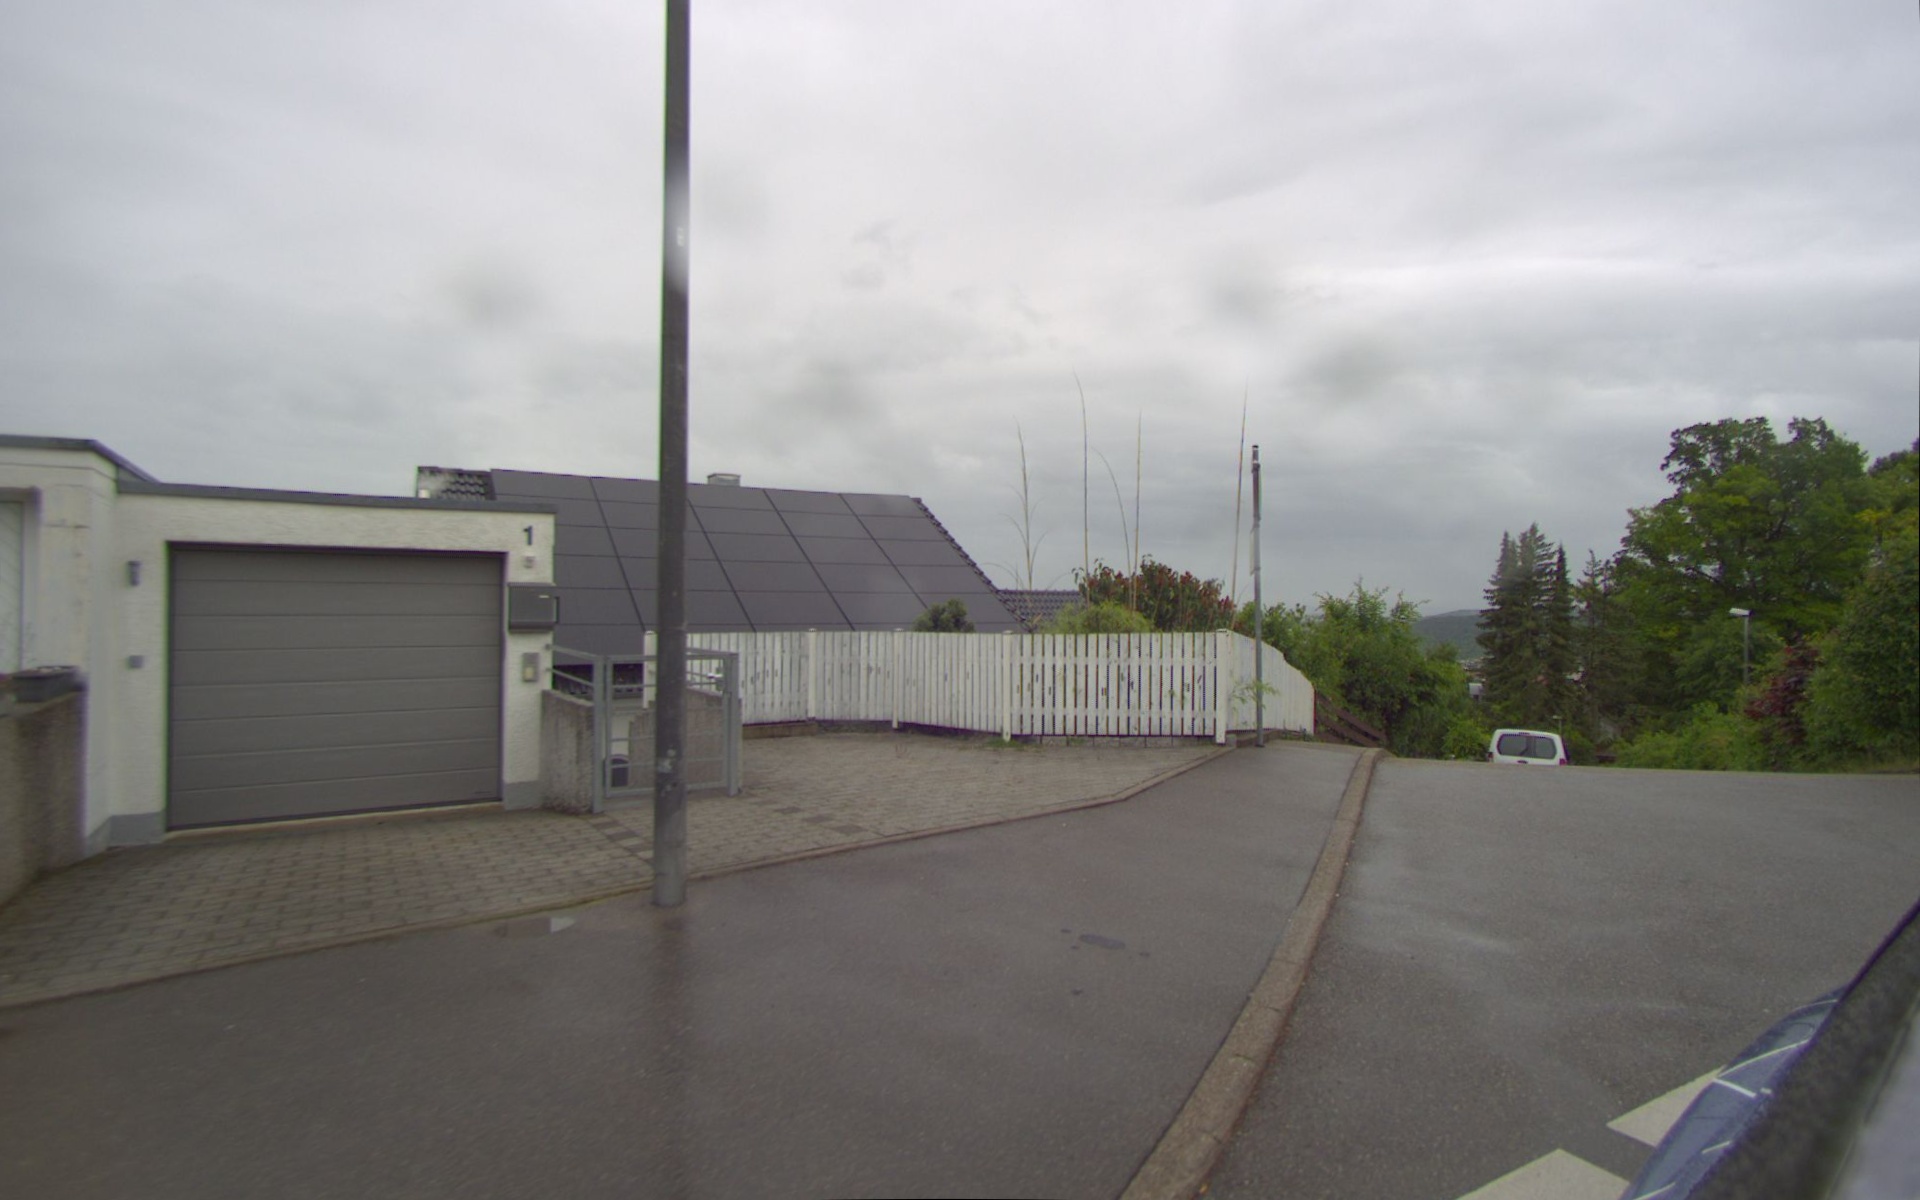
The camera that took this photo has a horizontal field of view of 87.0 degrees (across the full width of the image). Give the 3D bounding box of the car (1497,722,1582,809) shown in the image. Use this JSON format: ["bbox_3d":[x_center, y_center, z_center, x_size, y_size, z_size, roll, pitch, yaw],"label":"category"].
[{"bbox_3d":[14.695,4.234,25.633,1.740,1.765,3.953,0,-12,31],"label":"car"}]
